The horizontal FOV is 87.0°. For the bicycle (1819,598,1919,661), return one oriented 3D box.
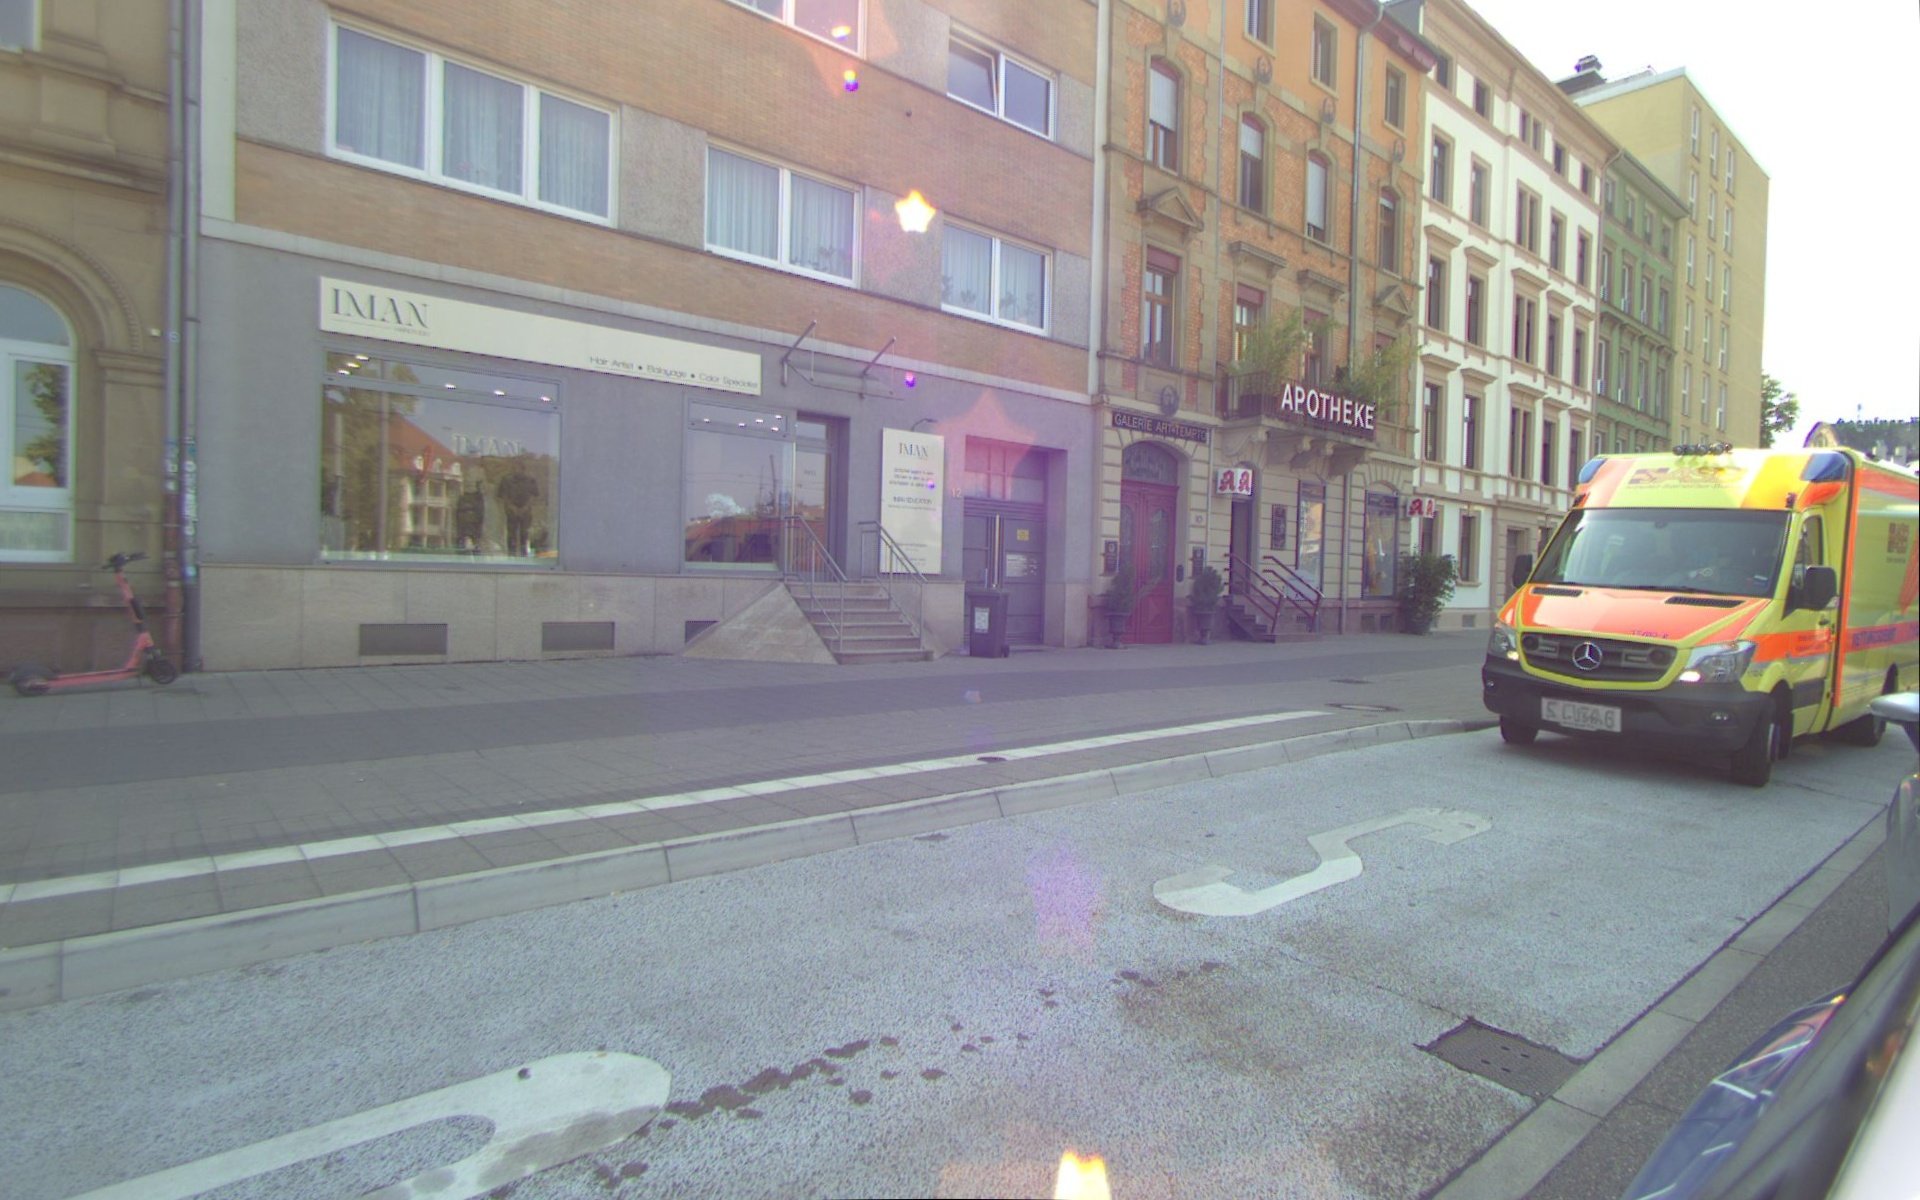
[{"bbox_3d":[18.318,0.570,20.124,0.427,1.219,1.841,1,0,-39],"label":"bicycle"}]

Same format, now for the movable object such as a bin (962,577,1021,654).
[{"bbox_3d":[0.499,0.225,15.663,0.640,1.118,0.723,3,2,24],"label":"movable object such as a bin"}]

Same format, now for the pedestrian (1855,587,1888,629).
[{"bbox_3d":[40.296,0.351,44.755,0.780,1.780,0.691,2,2,-15],"label":"pedestrian"}]

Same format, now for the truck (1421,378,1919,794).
[{"bbox_3d":[7.206,-0.171,9.637,6.221,2.803,2.336,0,4,-37],"label":"truck"}]

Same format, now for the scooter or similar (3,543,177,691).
[{"bbox_3d":[-7.644,0.131,8.915,0.476,1.227,1.124,3,2,45],"label":"scooter or similar"}]

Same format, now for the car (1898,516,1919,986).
[{"bbox_3d":[5.303,0.532,4.107,3.929,1.608,1.728,0,1,-40],"label":"car"}]

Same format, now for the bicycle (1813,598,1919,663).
[{"bbox_3d":[17.982,0.572,19.859,0.427,1.219,1.841,1,0,-39],"label":"bicycle"}]
